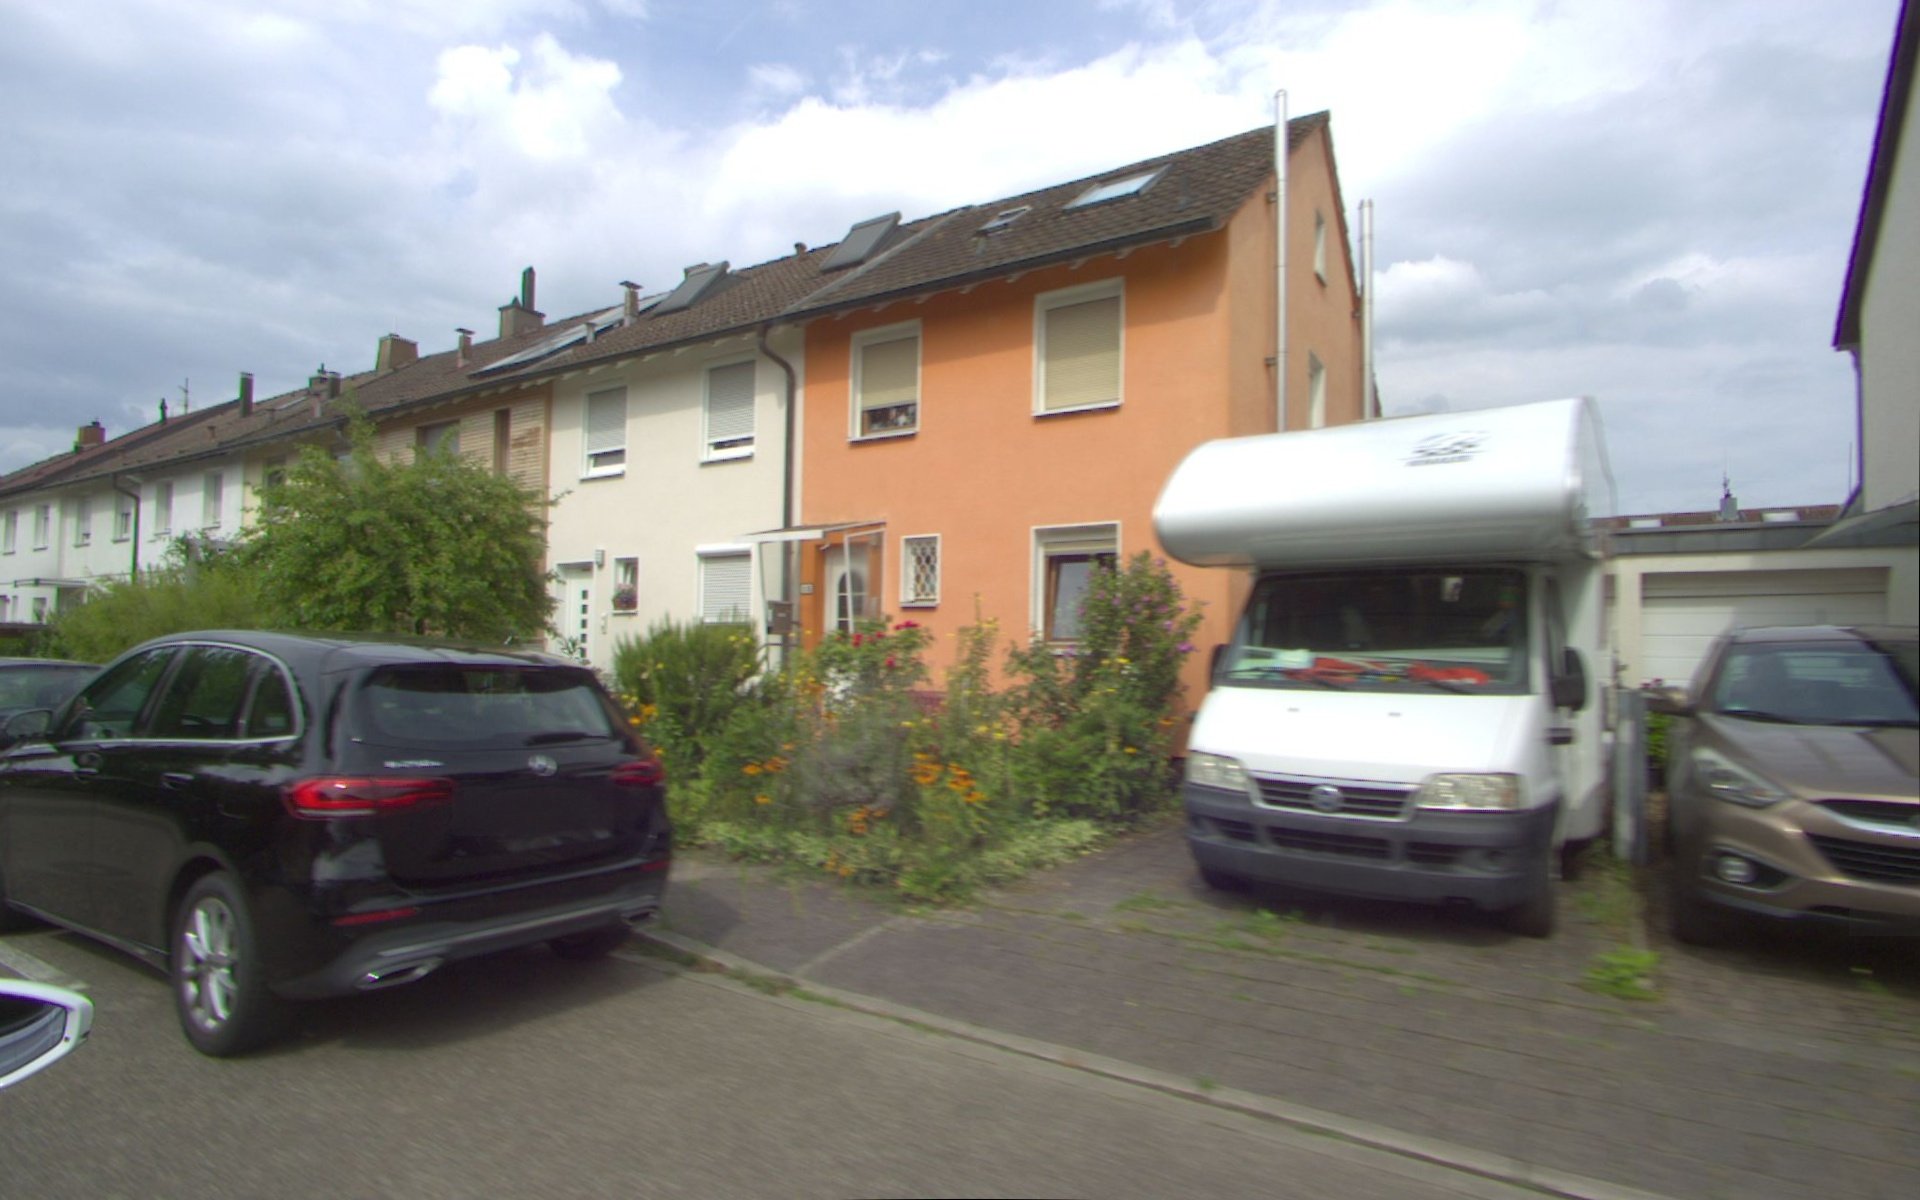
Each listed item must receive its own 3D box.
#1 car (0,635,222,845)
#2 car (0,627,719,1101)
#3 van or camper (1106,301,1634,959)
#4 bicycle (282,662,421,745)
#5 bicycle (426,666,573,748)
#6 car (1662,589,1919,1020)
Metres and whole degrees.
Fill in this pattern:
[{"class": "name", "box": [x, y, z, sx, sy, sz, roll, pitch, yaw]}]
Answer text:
[{"class": "car", "box": [-8.127, 1.014, 8.318, 4.065, 1.445, 1.732, -1, -3, 31]}, {"class": "car", "box": [-3.531, 0.917, 5.150, 4.581, 1.485, 1.747, -1, -3, 32]}, {"class": "van or camper", "box": [3.478, 0.269, 7.464, 2.502, 2.853, 5.788, -1, -3, 34]}, {"class": "bicycle", "box": [-8.115, 1.361, 13.405, 0.371, 1.035, 1.533, 0, -3, 37]}, {"class": "bicycle", "box": [-6.088, 1.398, 13.262, 1.720, 0.995, 0.661, 0, -2, 13]}, {"class": "car", "box": [5.249, 0.953, 5.833, 1.874, 1.729, 4.522, -1, -4, 35]}]
